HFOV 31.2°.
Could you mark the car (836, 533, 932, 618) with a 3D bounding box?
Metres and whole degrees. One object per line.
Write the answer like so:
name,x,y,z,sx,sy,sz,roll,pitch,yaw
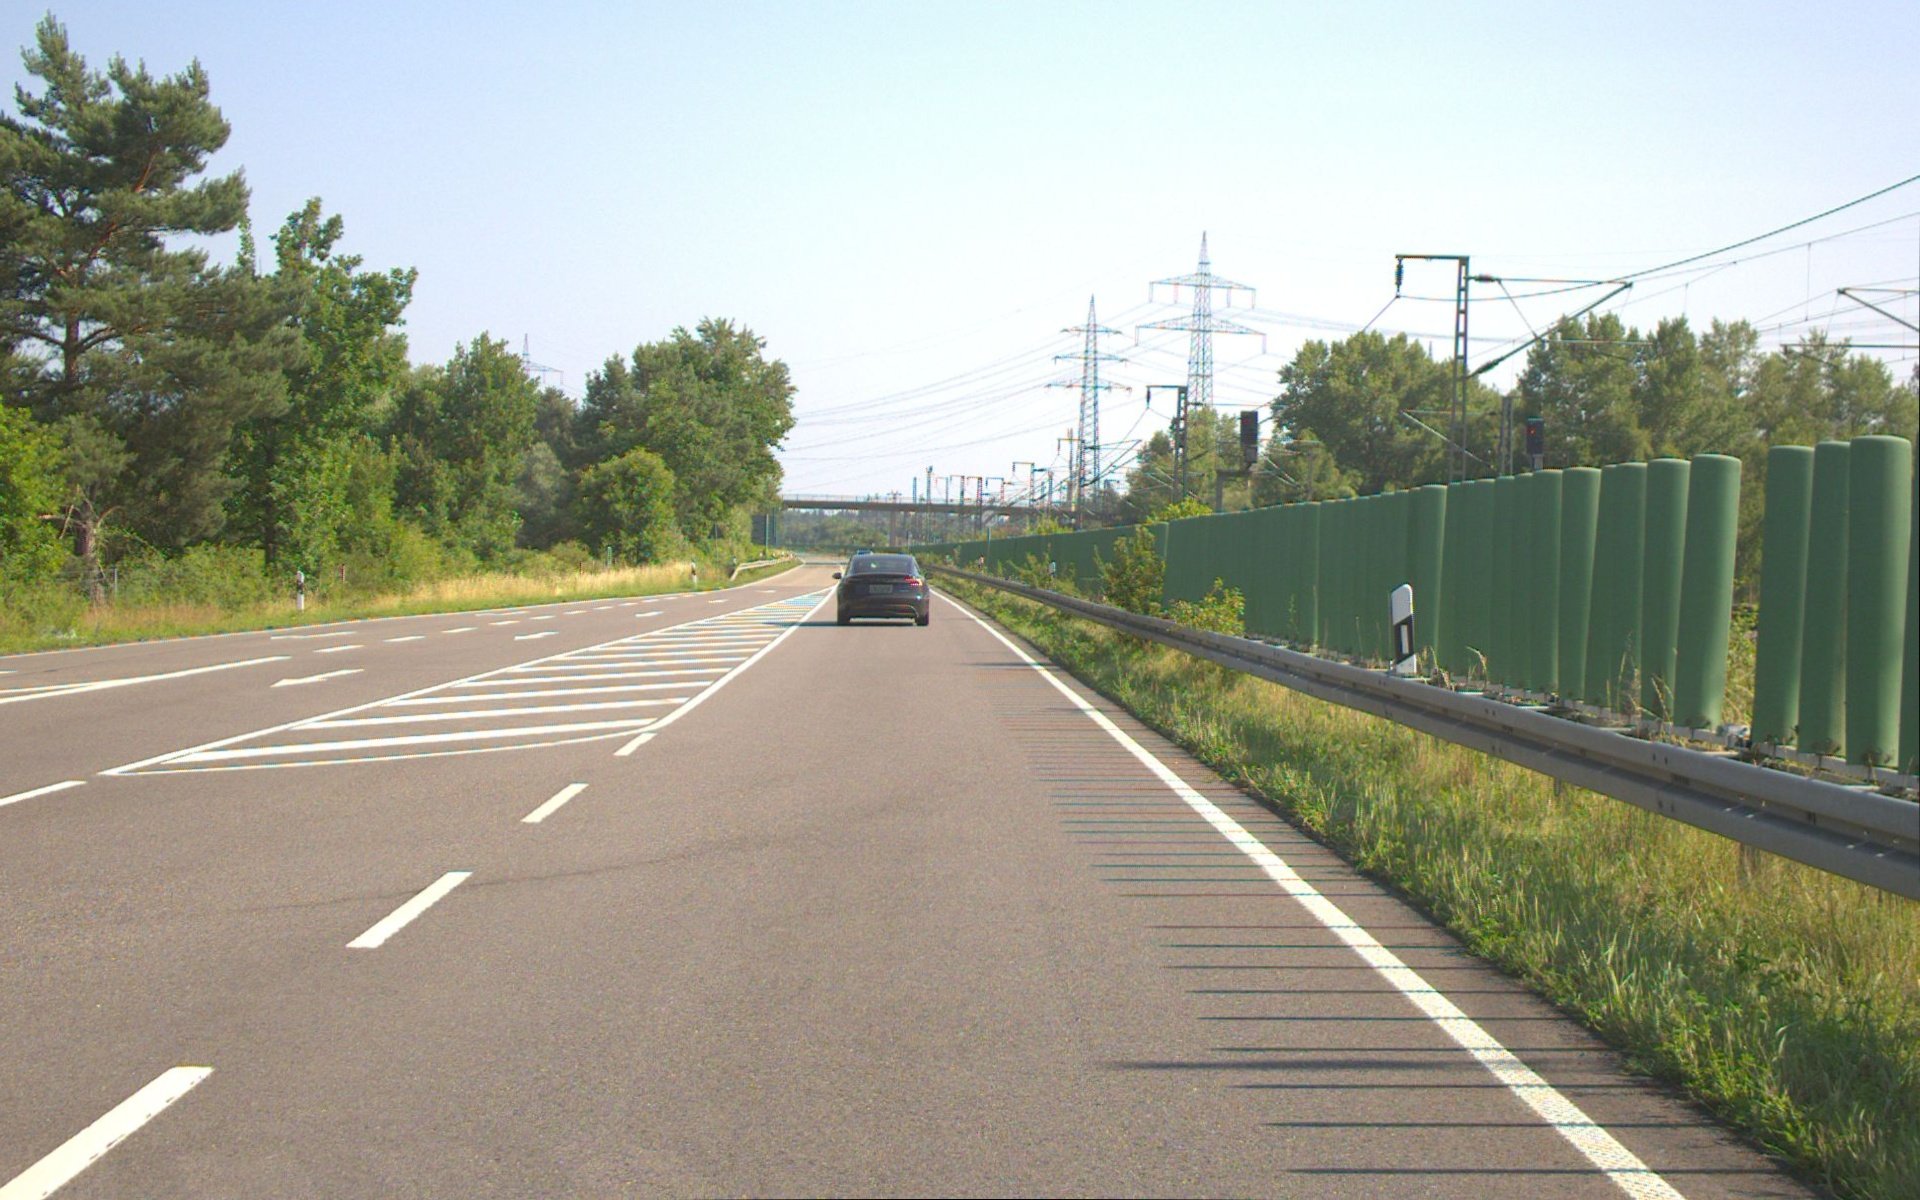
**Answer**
car,-1.512,-0.512,69.490,1.858,1.636,4.000,-1,1,-1
